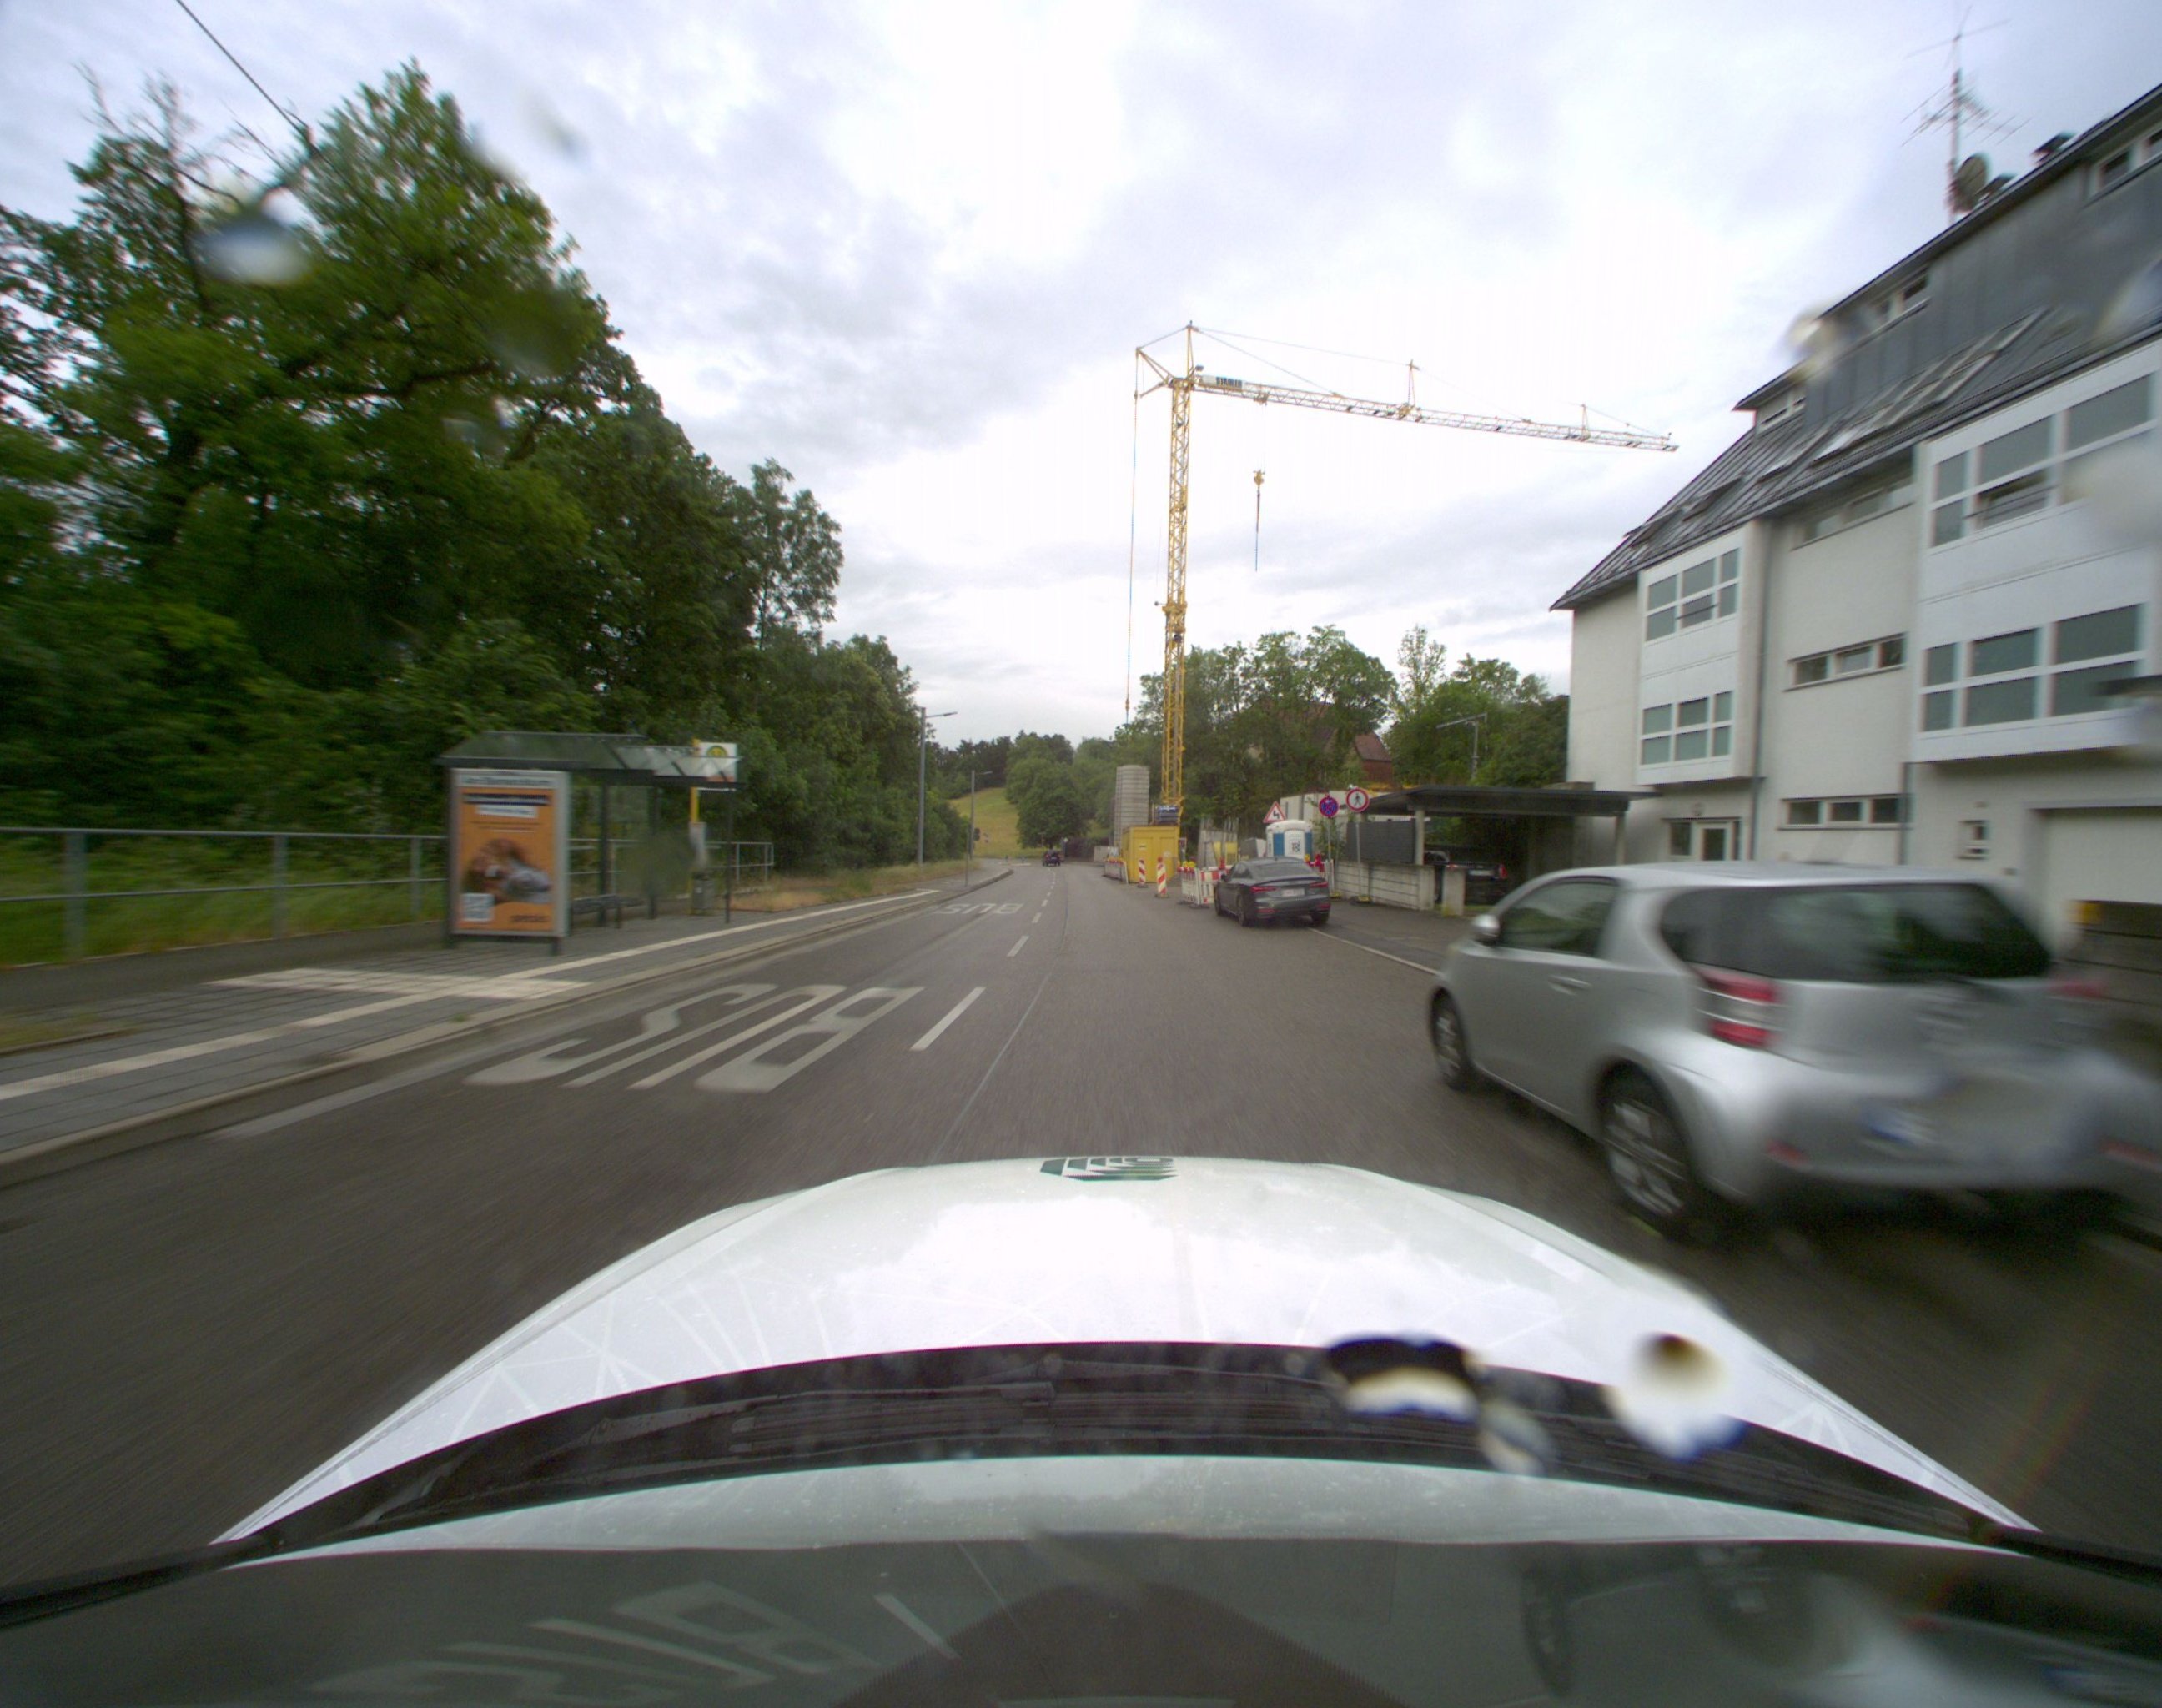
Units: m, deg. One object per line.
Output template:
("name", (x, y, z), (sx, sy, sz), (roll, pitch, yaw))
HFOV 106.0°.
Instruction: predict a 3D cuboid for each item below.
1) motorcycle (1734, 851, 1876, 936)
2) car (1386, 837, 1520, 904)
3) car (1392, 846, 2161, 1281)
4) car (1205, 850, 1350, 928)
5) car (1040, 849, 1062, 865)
("motorcycle", (13.227, 0.670, 14.967), (0.793, 1.451, 2.043), (0, 0, 0))
("car", (9.378, 0.375, 20.895), (1.688, 1.472, 4.003), (3, 0, 2))
("car", (3.106, 0.704, 4.442), (1.666, 1.457, 3.388), (0, 0, 3))
("car", (4.222, 0.677, 18.348), (1.927, 1.422, 4.834), (-3, 0, -2))
("car", (-3.423, 0.273, 92.623), (1.932, 1.751, 3.986), (0, 1, -10))
